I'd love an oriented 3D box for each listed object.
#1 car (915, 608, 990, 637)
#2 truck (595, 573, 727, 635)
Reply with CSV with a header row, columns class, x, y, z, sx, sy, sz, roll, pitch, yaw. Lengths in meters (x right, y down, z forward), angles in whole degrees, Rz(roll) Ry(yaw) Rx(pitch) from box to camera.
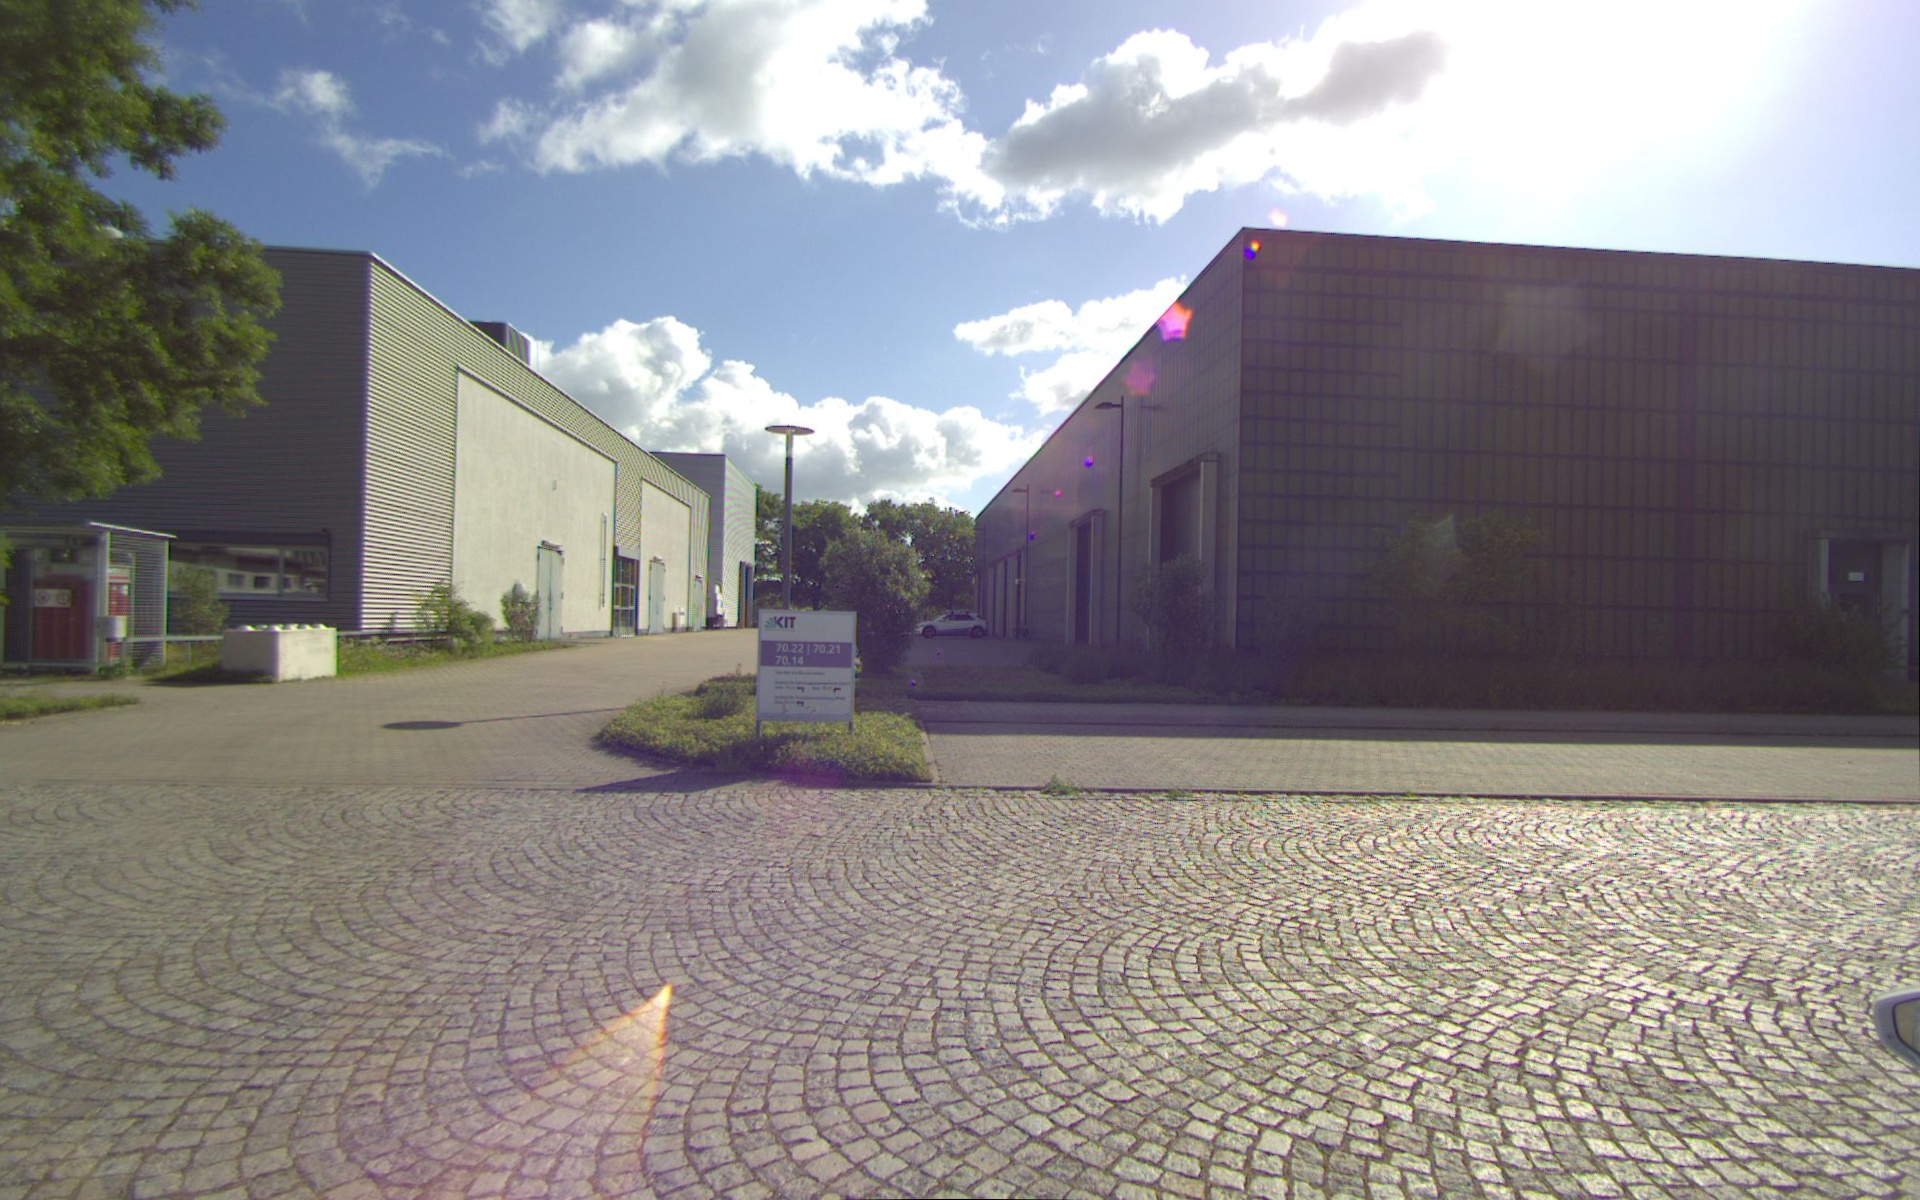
class,x,y,z,sx,sy,sz,roll,pitch,yaw
car,-0.520,1.393,62.504,4.493,1.685,1.998,1,-1,-6
truck,-19.796,0.302,66.885,7.948,3.868,2.649,1,-1,-4
